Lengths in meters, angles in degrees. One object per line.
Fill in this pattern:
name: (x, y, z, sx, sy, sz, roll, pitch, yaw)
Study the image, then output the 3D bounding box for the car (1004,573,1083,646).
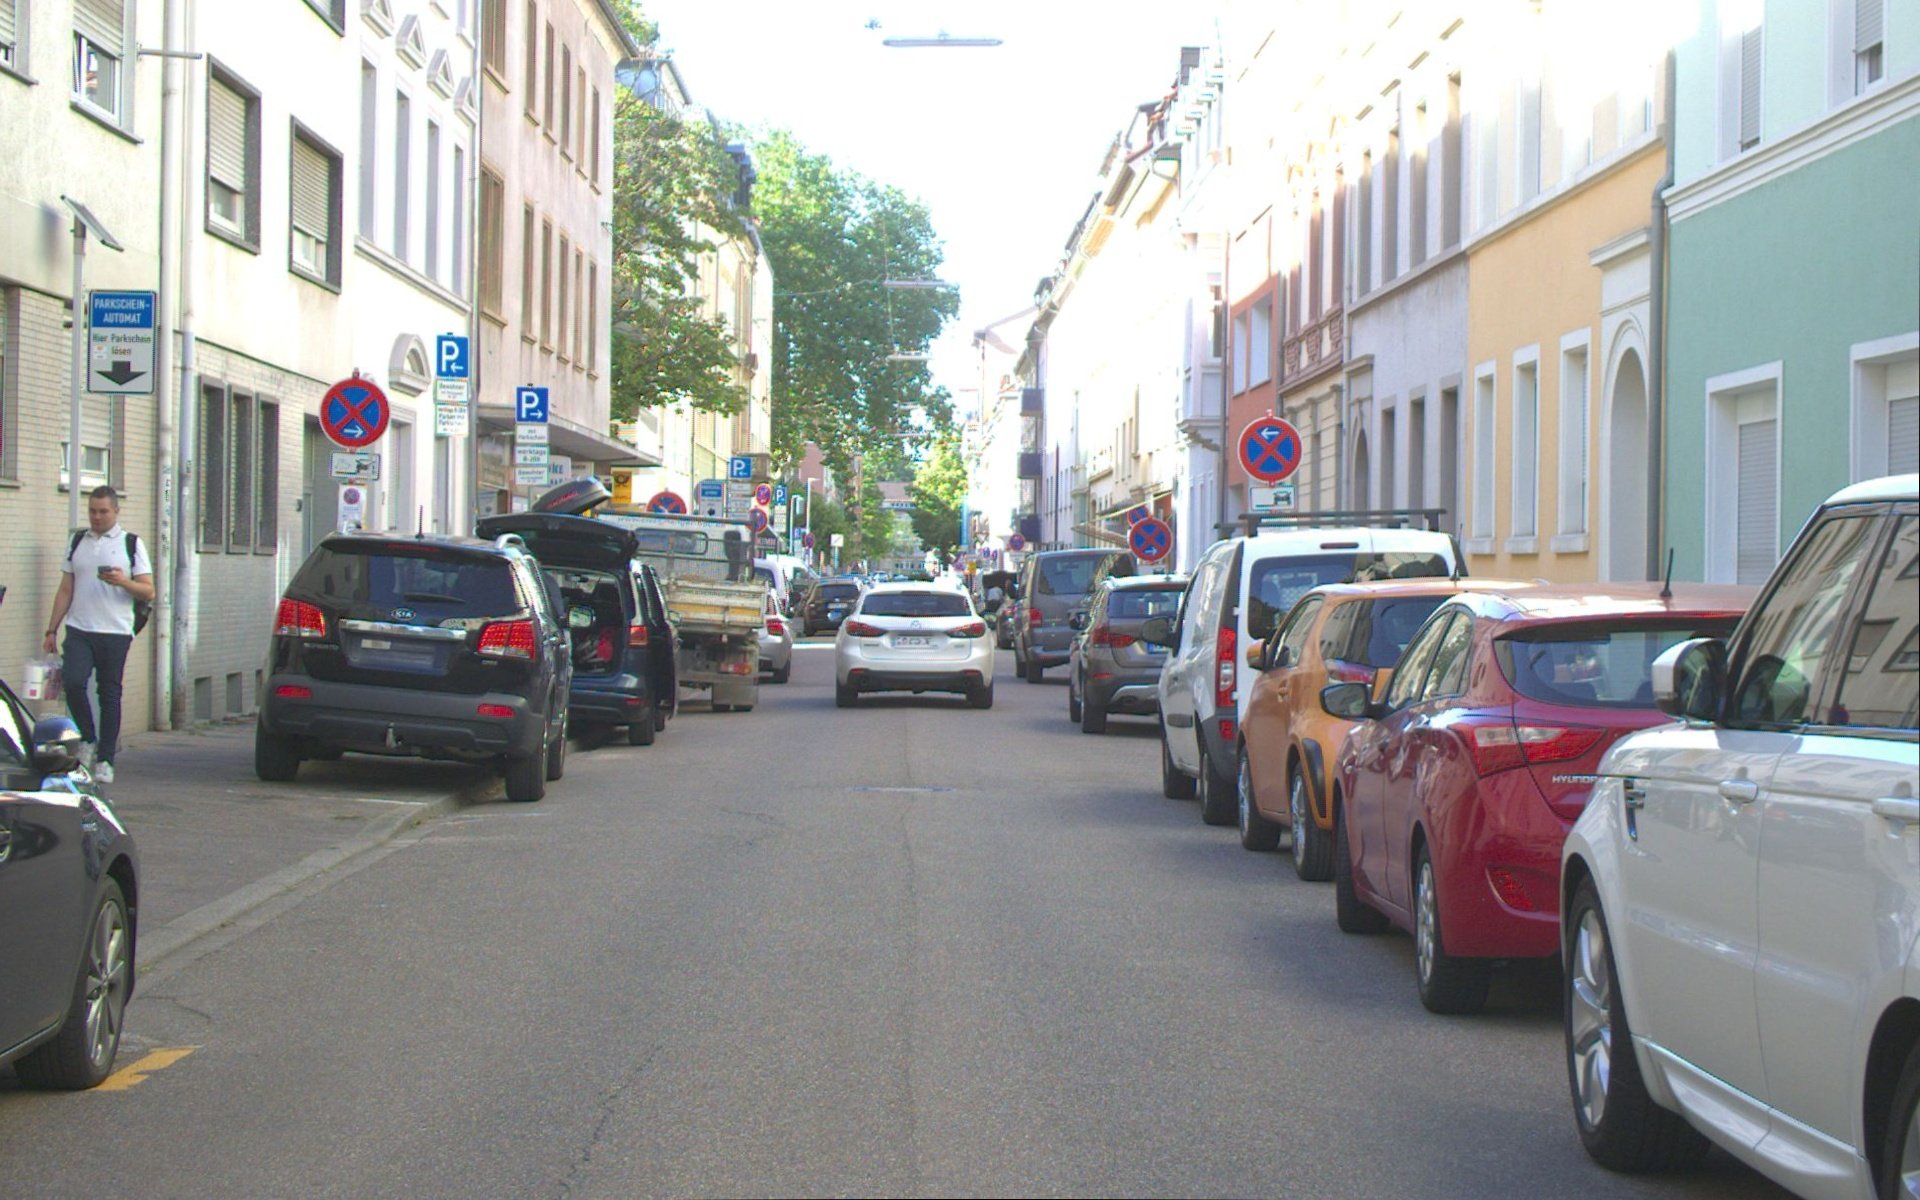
car: (1.855, 0.196, 77.425, 1.647, 1.571, 3.679, 1, 0, 0)

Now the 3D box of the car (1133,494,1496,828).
car: (2.212, 0.355, 22.538, 1.782, 1.955, 4.336, 1, 0, -2)

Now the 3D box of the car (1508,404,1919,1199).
car: (2.562, 0.551, 7.005, 2.005, 1.777, 4.939, 1, 1, -1)

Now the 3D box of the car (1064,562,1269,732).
car: (2.042, 0.425, 35.079, 1.739, 1.572, 4.378, 1, 1, -1)

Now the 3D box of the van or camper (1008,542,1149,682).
van or camper: (1.773, 0.163, 52.780, 1.775, 2.029, 4.571, -1, 0, -3)

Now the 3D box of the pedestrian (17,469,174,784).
pedestrian: (-5.371, 0.158, 21.385, 0.806, 1.927, 0.691, 0, 0, -1)

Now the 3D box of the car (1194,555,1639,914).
car: (2.267, 0.611, 17.958, 1.580, 1.626, 3.682, 2, 1, -3)

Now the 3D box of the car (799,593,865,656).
car: (-3.425, 0.649, 92.322, 1.624, 1.592, 3.580, 1, 0, 0)

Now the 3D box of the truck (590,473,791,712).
truck: (-3.194, -0.046, 40.249, 2.156, 2.581, 6.250, 0, -1, -5)

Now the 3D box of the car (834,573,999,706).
car: (-0.480, 0.428, 40.654, 1.834, 1.481, 4.057, 1, 0, 0)

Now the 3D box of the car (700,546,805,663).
car: (-3.437, 0.053, 57.048, 1.647, 1.861, 4.001, 1, 0, -3)

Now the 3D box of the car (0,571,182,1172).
car: (-3.167, 0.647, 8.297, 1.706, 1.445, 4.302, 1, 0, -2)

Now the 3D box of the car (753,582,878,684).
car: (-2.142, 0.459, 51.276, 1.758, 1.411, 4.000, -1, 1, -2)

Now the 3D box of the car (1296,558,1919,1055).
car: (2.395, 0.646, 13.119, 1.742, 1.563, 4.032, 1, 1, -1)

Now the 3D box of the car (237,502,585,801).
car: (-3.670, 0.276, 23.712, 1.879, 1.749, 4.544, 4, 1, -4)

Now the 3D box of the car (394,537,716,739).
car: (-3.693, 0.301, 32.408, 2.441, 1.700, 5.242, 1, 1, -1)

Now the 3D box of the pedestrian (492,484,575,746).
pedestrian: (-3.656, 0.128, 29.527, 0.619, 2.221, 0.688, 0, -1, 0)

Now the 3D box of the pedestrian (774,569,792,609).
pedestrian: (-6.484, -0.414, 125.967, 0.627, 1.459, 0.575, 0, -1, 0)

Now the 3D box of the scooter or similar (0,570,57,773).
scooter or similar: (-6.334, 0.451, 21.640, 0.438, 1.274, 1.230, 0, 0, 40)

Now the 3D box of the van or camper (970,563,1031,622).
van or camper: (1.341, -0.225, 115.370, 1.993, 1.919, 4.000, 0, -1, 0)
